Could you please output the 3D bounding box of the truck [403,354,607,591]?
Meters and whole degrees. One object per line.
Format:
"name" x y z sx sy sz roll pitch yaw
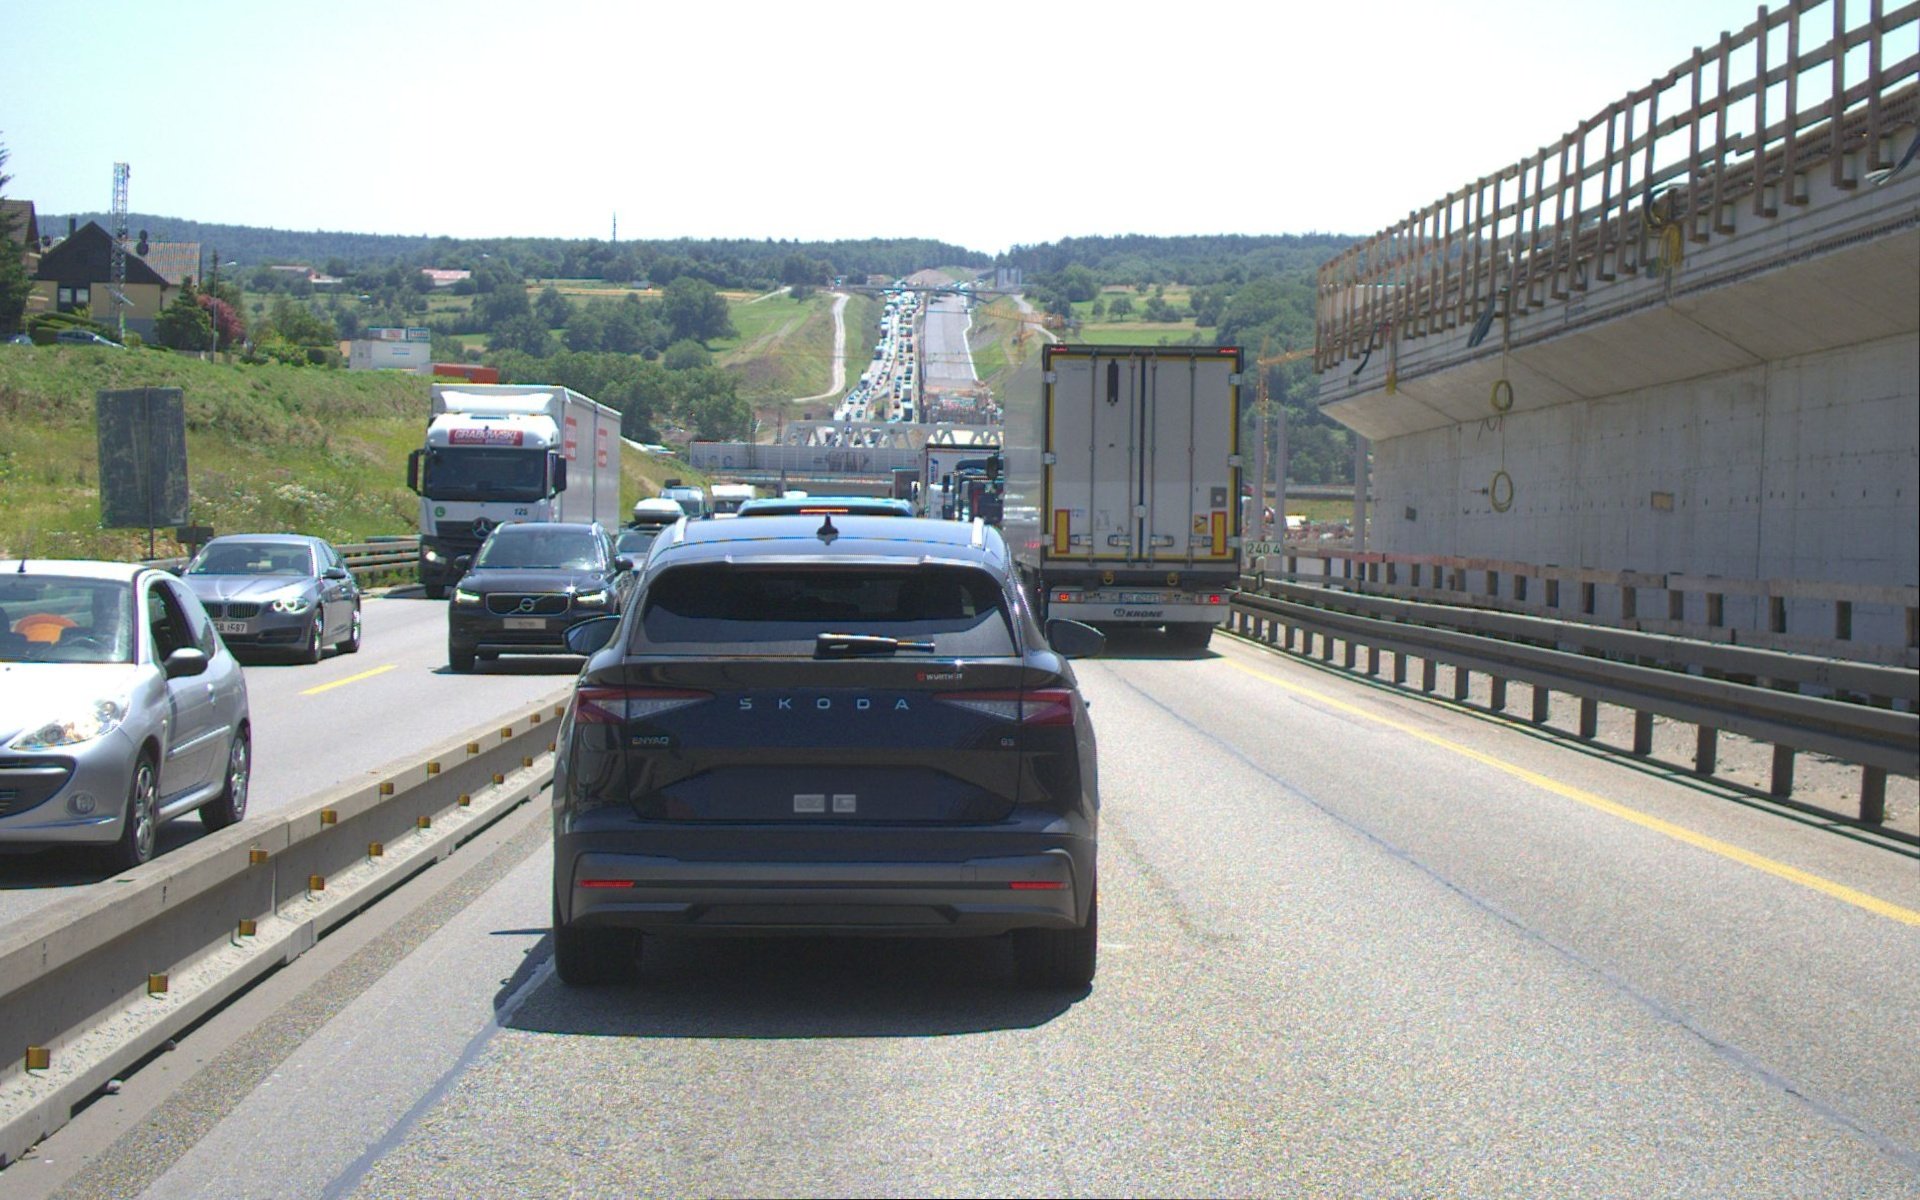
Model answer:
"truck" -8.891 -2.386 68.087 2.753 4.213 8.099 4 0 -1

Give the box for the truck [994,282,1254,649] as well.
"truck" 2.154 -1.733 49.918 2.846 4.599 11.812 2 0 -1

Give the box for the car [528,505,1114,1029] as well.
"car" -0.515 0.495 12.496 1.782 1.592 3.755 1 1 -3

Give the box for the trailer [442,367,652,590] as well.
"trailer" -8.979 -2.474 76.624 2.760 4.259 14.634 4 0 -1

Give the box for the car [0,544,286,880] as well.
"car" -4.495 0.476 16.703 1.702 1.436 4.000 0 0 -1

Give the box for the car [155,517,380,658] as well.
"car" -8.126 -0.146 40.667 1.872 1.437 4.000 5 0 -2

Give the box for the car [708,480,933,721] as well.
"car" -1.273 -0.016 30.185 1.749 1.889 3.756 3 0 -4

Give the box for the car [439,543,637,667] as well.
"car" -4.742 0.050 39.098 1.771 1.284 4.000 2 0 -1
